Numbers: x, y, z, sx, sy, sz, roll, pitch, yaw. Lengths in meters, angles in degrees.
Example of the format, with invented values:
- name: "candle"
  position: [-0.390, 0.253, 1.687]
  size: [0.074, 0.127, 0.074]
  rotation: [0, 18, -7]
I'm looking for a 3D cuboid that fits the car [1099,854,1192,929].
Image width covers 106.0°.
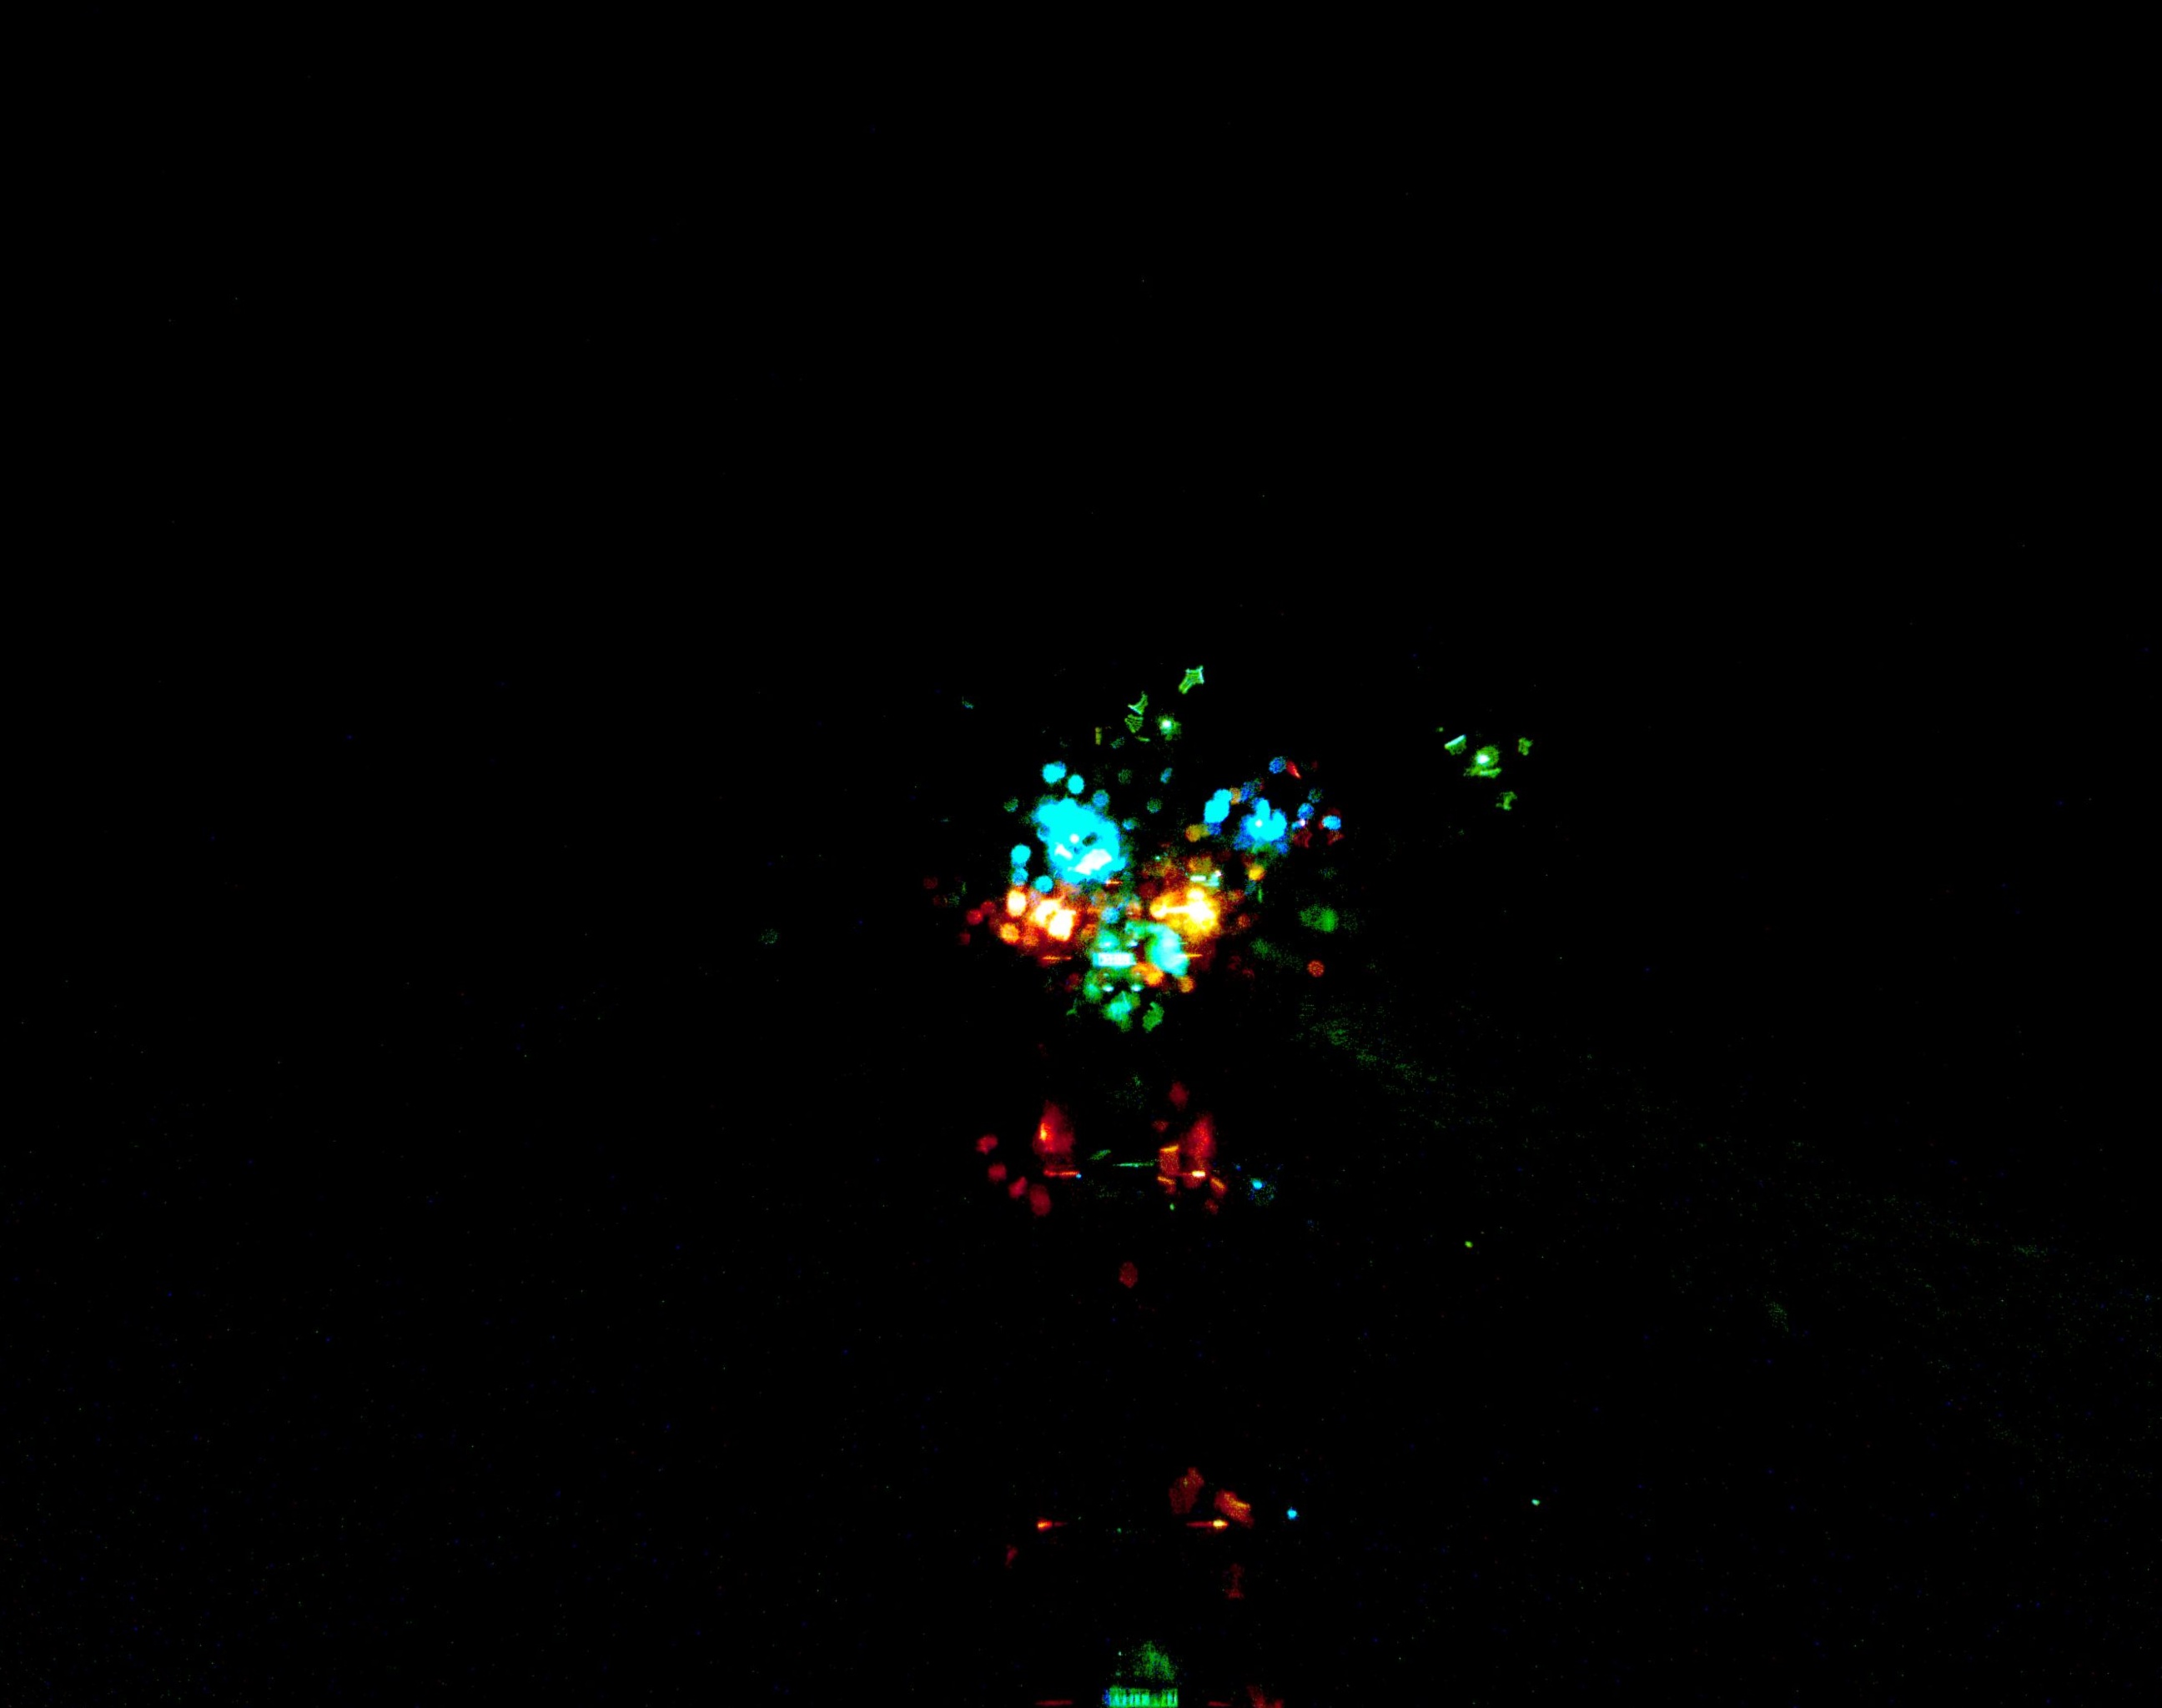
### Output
- name: "car"
  position: [1.461, 0.771, 18.755]
  size: [1.901, 1.510, 4.245]
  rotation: [0, 0, 4]

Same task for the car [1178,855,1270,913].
- name: "car"
  position: [5.513, 1.065, 30.968]
  size: [1.754, 1.947, 4.281]
  rotation: [3, 1, 34]

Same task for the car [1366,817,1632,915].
- name: "car"
  position: [8.365, 0.245, 16.754]
  size: [4.437, 1.586, 1.946]
  rotation: [-4, 0, 12]

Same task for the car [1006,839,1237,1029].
- name: "car"
  position: [0.423, 0.732, 9.325]
  size: [2.050, 1.678, 4.140]
  rotation: [0, -1, 2]
